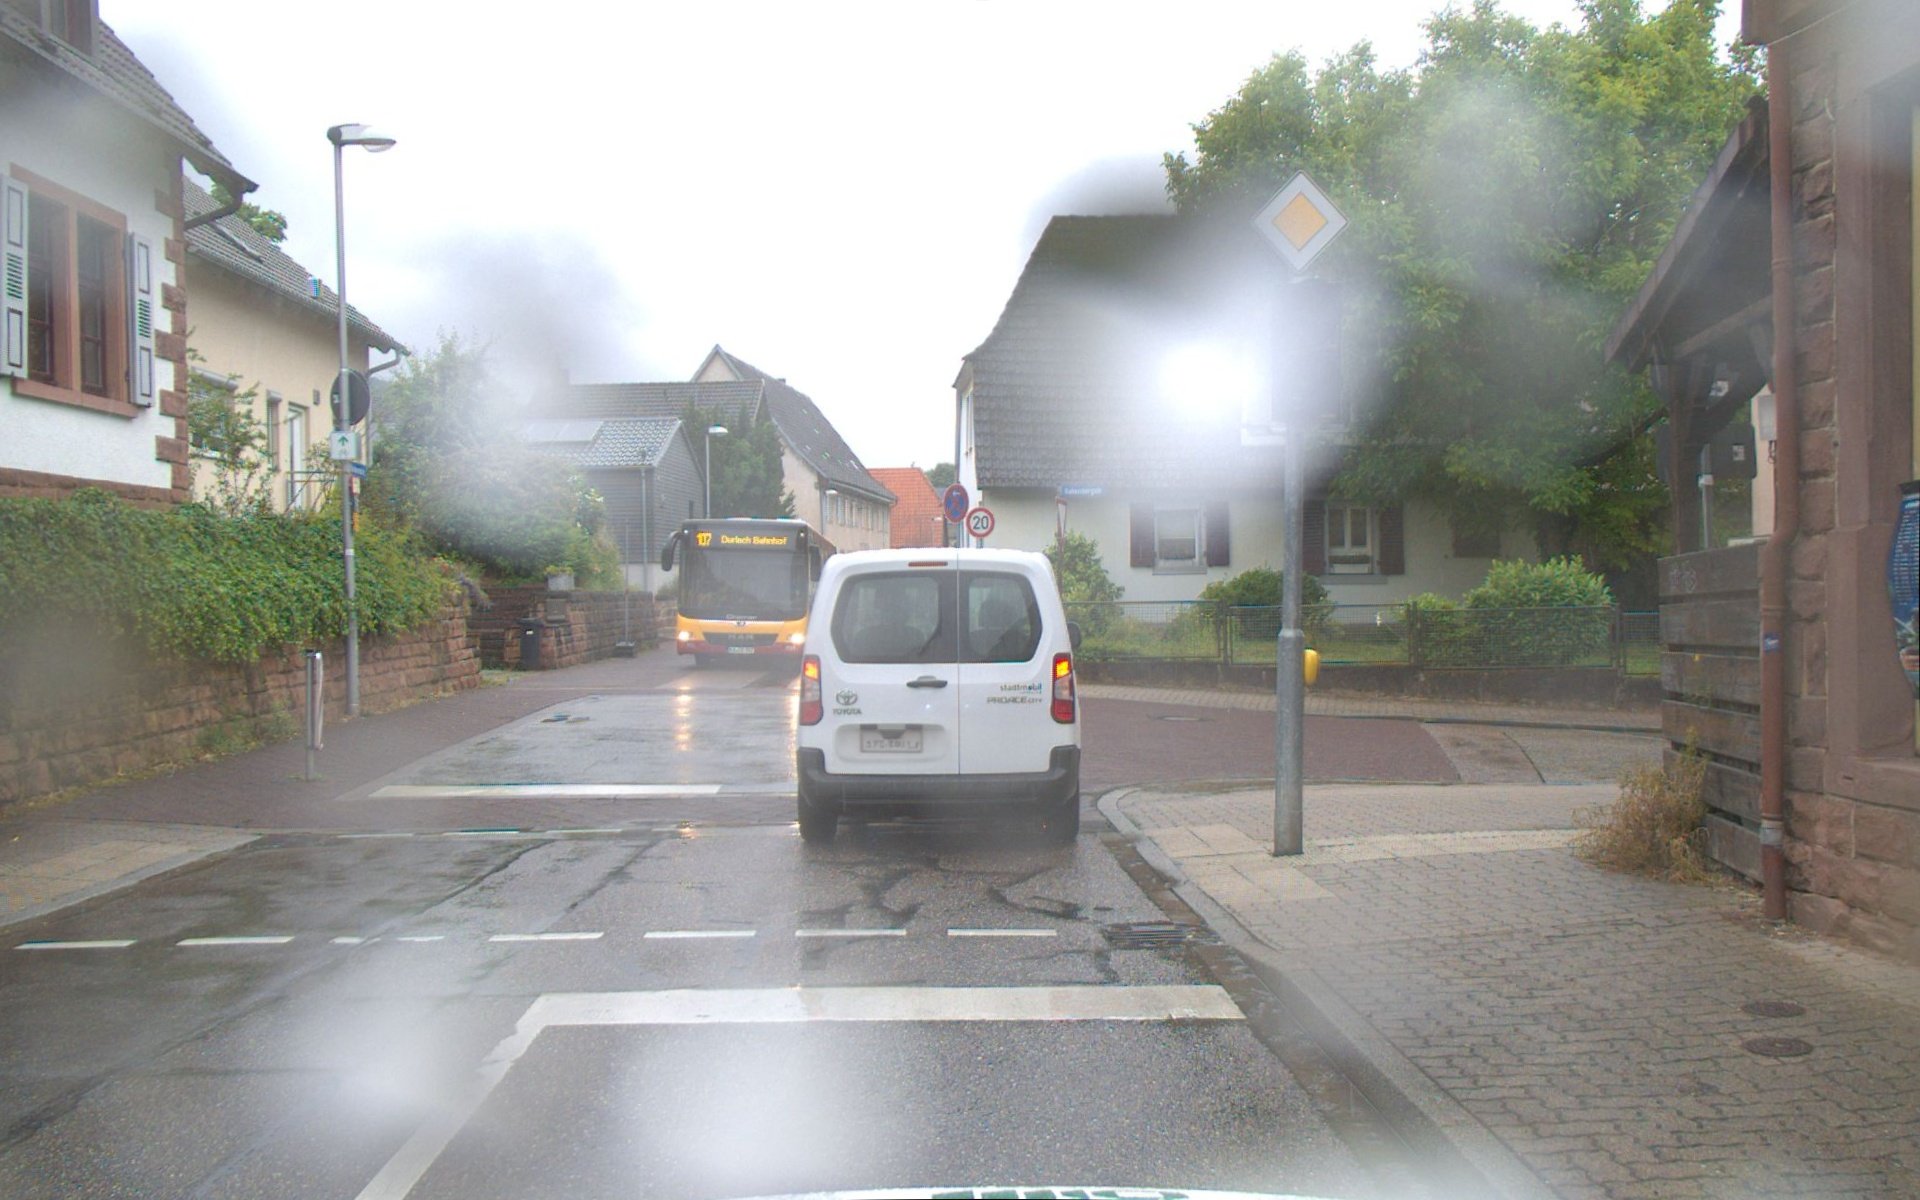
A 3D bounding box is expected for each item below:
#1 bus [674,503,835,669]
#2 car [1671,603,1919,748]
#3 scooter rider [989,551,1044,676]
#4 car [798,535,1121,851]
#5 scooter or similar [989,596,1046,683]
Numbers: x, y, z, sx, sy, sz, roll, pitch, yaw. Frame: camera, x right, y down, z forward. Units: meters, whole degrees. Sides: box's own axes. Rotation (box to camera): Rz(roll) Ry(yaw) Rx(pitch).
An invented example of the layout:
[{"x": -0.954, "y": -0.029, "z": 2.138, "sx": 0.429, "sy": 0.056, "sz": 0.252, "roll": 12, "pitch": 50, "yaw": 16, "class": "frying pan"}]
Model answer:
[{"x": -4.246, "y": -0.446, "z": 36.578, "sx": 2.596, "sy": 3.051, "sz": 12.188, "roll": 0, "pitch": 2, "yaw": -3, "class": "bus"}, {"x": 10.267, "y": 0.836, "z": 18.579, "sx": 3.902, "sy": 1.492, "sz": 1.785, "roll": 1, "pitch": -1, "yaw": 13, "class": "car"}, {"x": 0.799, "y": 0.180, "z": 23.541, "sx": 0.717, "sy": 1.763, "sz": 0.517, "roll": 0, "pitch": 1, "yaw": -7, "class": "scooter rider"}, {"x": -0.070, "y": 0.532, "z": 11.522, "sx": 1.856, "sy": 1.825, "sz": 3.812, "roll": 1, "pitch": 0, "yaw": -2, "class": "car"}, {"x": 0.806, "y": 0.539, "z": 23.469, "sx": 0.608, "sy": 1.146, "sz": 1.400, "roll": 0, "pitch": 2, "yaw": -6, "class": "scooter or similar"}]
